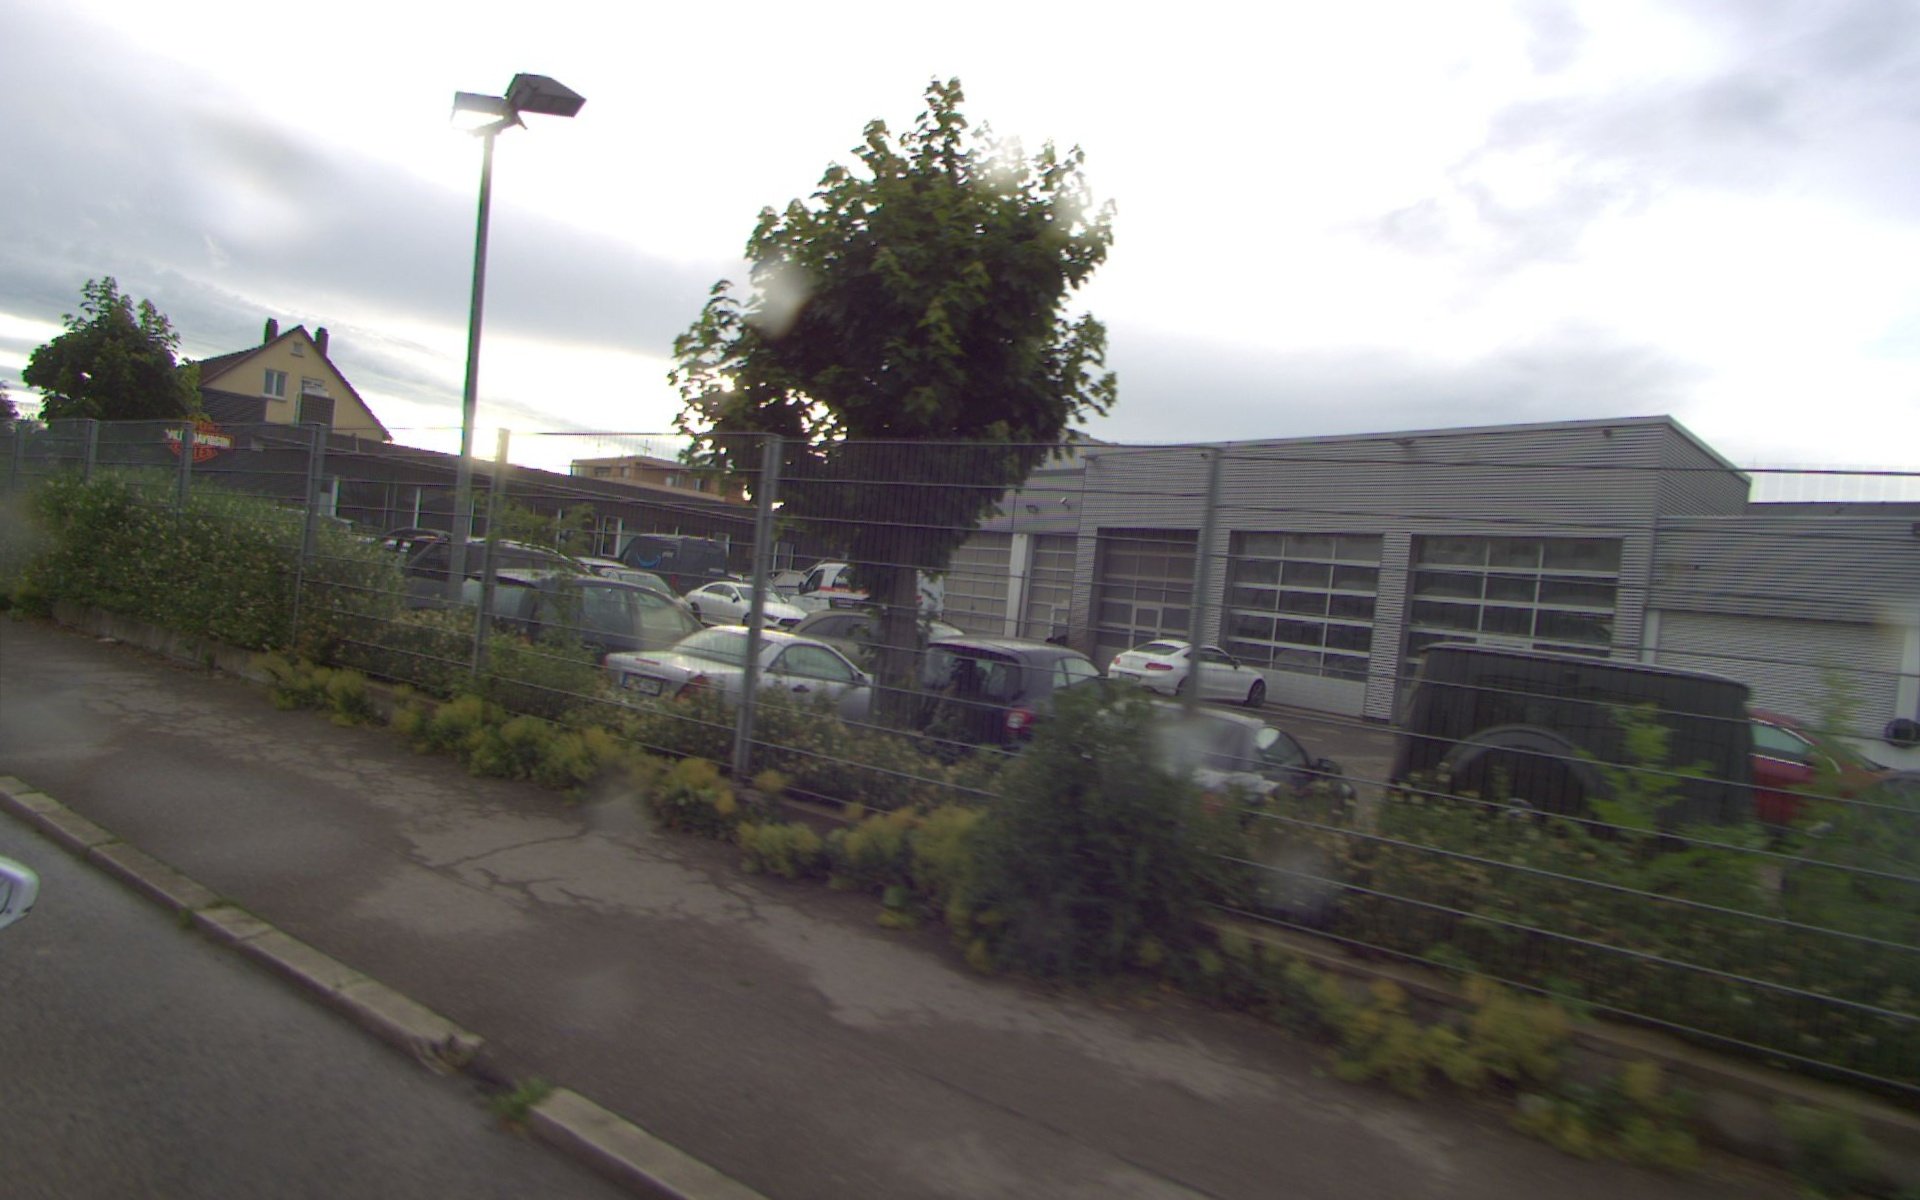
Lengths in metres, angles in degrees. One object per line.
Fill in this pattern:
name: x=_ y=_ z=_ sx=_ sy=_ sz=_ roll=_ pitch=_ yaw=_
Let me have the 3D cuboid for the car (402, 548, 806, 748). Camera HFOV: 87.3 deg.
car: x=-3.802 y=0.651 z=11.531 sx=1.589 sy=1.792 sz=4.151 roll=6 pitch=-3 yaw=31

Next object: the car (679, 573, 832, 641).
car: x=-5.857 y=0.171 z=28.490 sx=4.406 sy=1.435 sz=1.889 roll=4 pitch=-4 yaw=42

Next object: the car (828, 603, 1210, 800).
car: x=0.805 y=1.031 z=10.164 sx=1.969 sy=1.424 sz=3.993 roll=5 pitch=-4 yaw=35

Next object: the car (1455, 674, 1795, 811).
car: x=10.113 y=2.133 z=15.490 sx=1.989 sy=1.435 sz=3.953 roll=10 pitch=-4 yaw=-43

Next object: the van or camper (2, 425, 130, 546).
van or camper: x=-24.049 y=-3.048 z=26.949 sx=6.504 sy=2.626 sz=2.035 roll=7 pitch=1 yaw=45

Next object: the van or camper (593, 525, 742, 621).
van or camper: x=-9.865 y=-0.970 z=33.615 sx=2.324 sy=2.589 sz=5.670 roll=6 pitch=1 yaw=-43

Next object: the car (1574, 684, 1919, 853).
car: x=10.004 y=2.008 z=12.152 sx=1.989 sy=1.436 sz=3.953 roll=9 pitch=-4 yaw=-43

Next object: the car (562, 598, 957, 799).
car: x=-1.811 y=1.019 z=10.324 sx=1.652 sy=1.525 sz=3.912 roll=5 pitch=-3 yaw=31

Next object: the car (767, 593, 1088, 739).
car: x=-0.517 y=0.921 z=14.565 sx=4.227 sy=1.523 sz=1.788 roll=5 pitch=-3 yaw=30

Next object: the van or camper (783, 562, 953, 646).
van or camper: x=-2.768 y=0.065 z=29.078 sx=1.987 sy=1.960 sz=5.371 roll=9 pitch=-3 yaw=-41

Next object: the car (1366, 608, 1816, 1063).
car: x=4.090 y=1.293 z=6.784 sx=1.744 sy=1.915 sz=4.145 roll=6 pitch=-3 yaw=31

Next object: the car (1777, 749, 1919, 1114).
car: x=5.622 y=1.626 z=5.220 sx=1.762 sy=1.419 sz=3.992 roll=5 pitch=-4 yaw=35

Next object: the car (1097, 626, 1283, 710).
car: x=5.448 y=1.630 z=23.544 sx=4.618 sy=1.415 sz=1.702 roll=10 pitch=-4 yaw=-39
